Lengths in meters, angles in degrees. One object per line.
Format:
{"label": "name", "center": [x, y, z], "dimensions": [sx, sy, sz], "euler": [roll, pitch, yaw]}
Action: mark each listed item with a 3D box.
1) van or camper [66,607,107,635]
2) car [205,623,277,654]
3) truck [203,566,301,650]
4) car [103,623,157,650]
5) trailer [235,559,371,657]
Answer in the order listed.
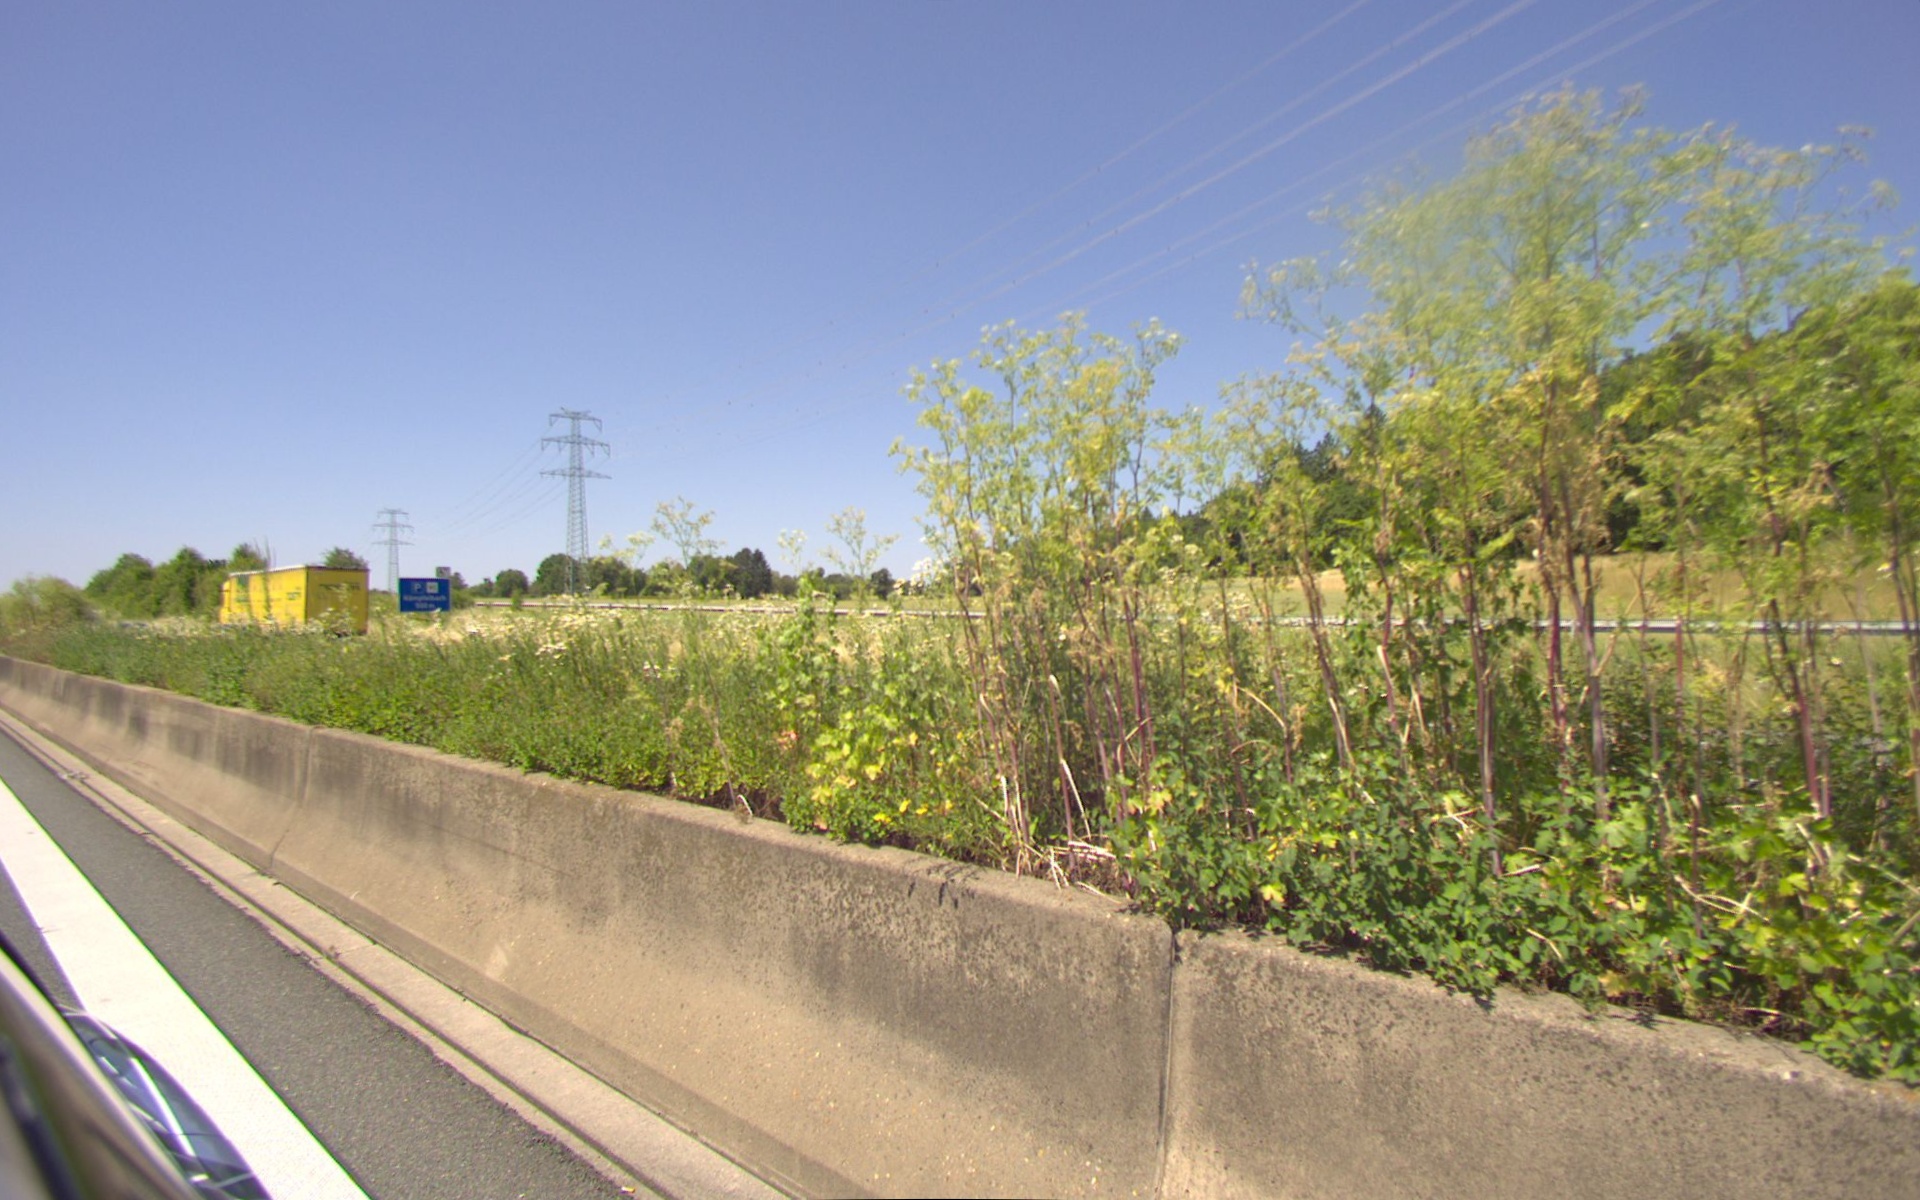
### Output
{"label": "van or camper", "center": [-90.245, 2.155, 104.524], "dimensions": [7.067, 2.860, 2.524], "euler": [-1, -1, 43]}
{"label": "car", "center": [-29.237, 1.542, 41.110], "dimensions": [3.340, 1.139, 1.658], "euler": [-1, 0, 41]}
{"label": "truck", "center": [-38.117, 0.392, 54.397], "dimensions": [7.324, 4.268, 2.748], "euler": [0, 1, 43]}
{"label": "car", "center": [-48.497, 2.095, 59.121], "dimensions": [4.098, 1.476, 1.849], "euler": [-2, -1, 42]}
{"label": "trailer", "center": [-31.558, 0.342, 48.372], "dimensions": [10.684, 4.238, 2.791], "euler": [0, 1, 42]}
